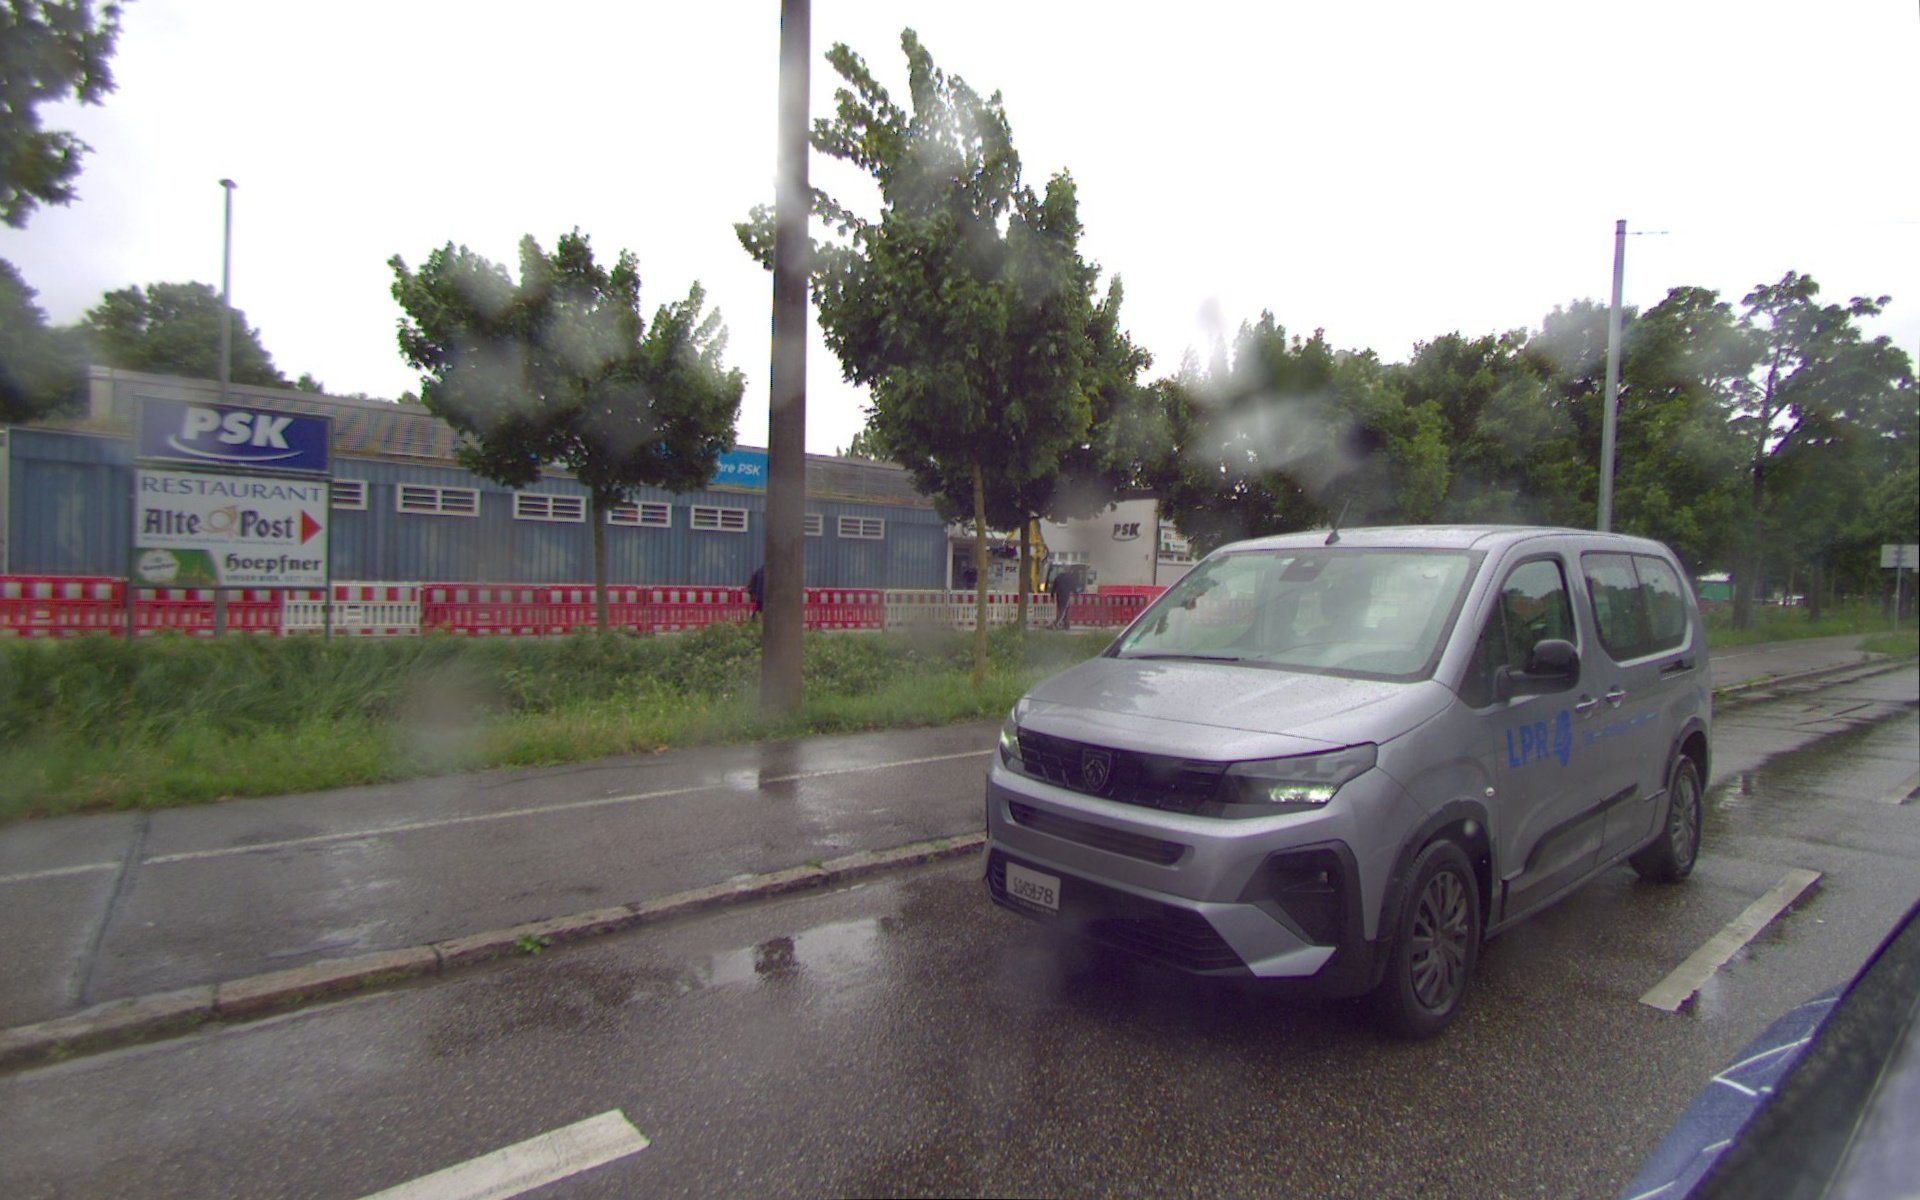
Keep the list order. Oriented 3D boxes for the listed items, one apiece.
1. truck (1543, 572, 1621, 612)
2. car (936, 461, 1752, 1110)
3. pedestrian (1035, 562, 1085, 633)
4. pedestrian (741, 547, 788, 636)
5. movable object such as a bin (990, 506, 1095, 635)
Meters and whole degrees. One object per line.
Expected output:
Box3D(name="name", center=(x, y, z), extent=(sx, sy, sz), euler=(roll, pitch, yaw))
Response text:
Box3D(name="truck", center=(48.229, -0.654, 78.327), extent=(8.600, 2.935, 2.808), euler=(-1, 0, -42))
Box3D(name="car", center=(2.224, 0.500, 5.085), extent=(4.483, 1.818, 1.997), euler=(0, 1, -41))
Box3D(name="pedestrian", center=(2.823, -0.082, 28.511), extent=(1.192, 1.960, 0.814), euler=(0, 0, -42))
Box3D(name="pedestrian", center=(-4.351, -0.189, 22.558), extent=(0.861, 1.920, 0.580), euler=(0, 0, -41))
Box3D(name="movable object such as a bin", center=(3.048, -1.058, 36.960), extent=(3.839, 4.482, 1.557), euler=(0, 0, -40))
